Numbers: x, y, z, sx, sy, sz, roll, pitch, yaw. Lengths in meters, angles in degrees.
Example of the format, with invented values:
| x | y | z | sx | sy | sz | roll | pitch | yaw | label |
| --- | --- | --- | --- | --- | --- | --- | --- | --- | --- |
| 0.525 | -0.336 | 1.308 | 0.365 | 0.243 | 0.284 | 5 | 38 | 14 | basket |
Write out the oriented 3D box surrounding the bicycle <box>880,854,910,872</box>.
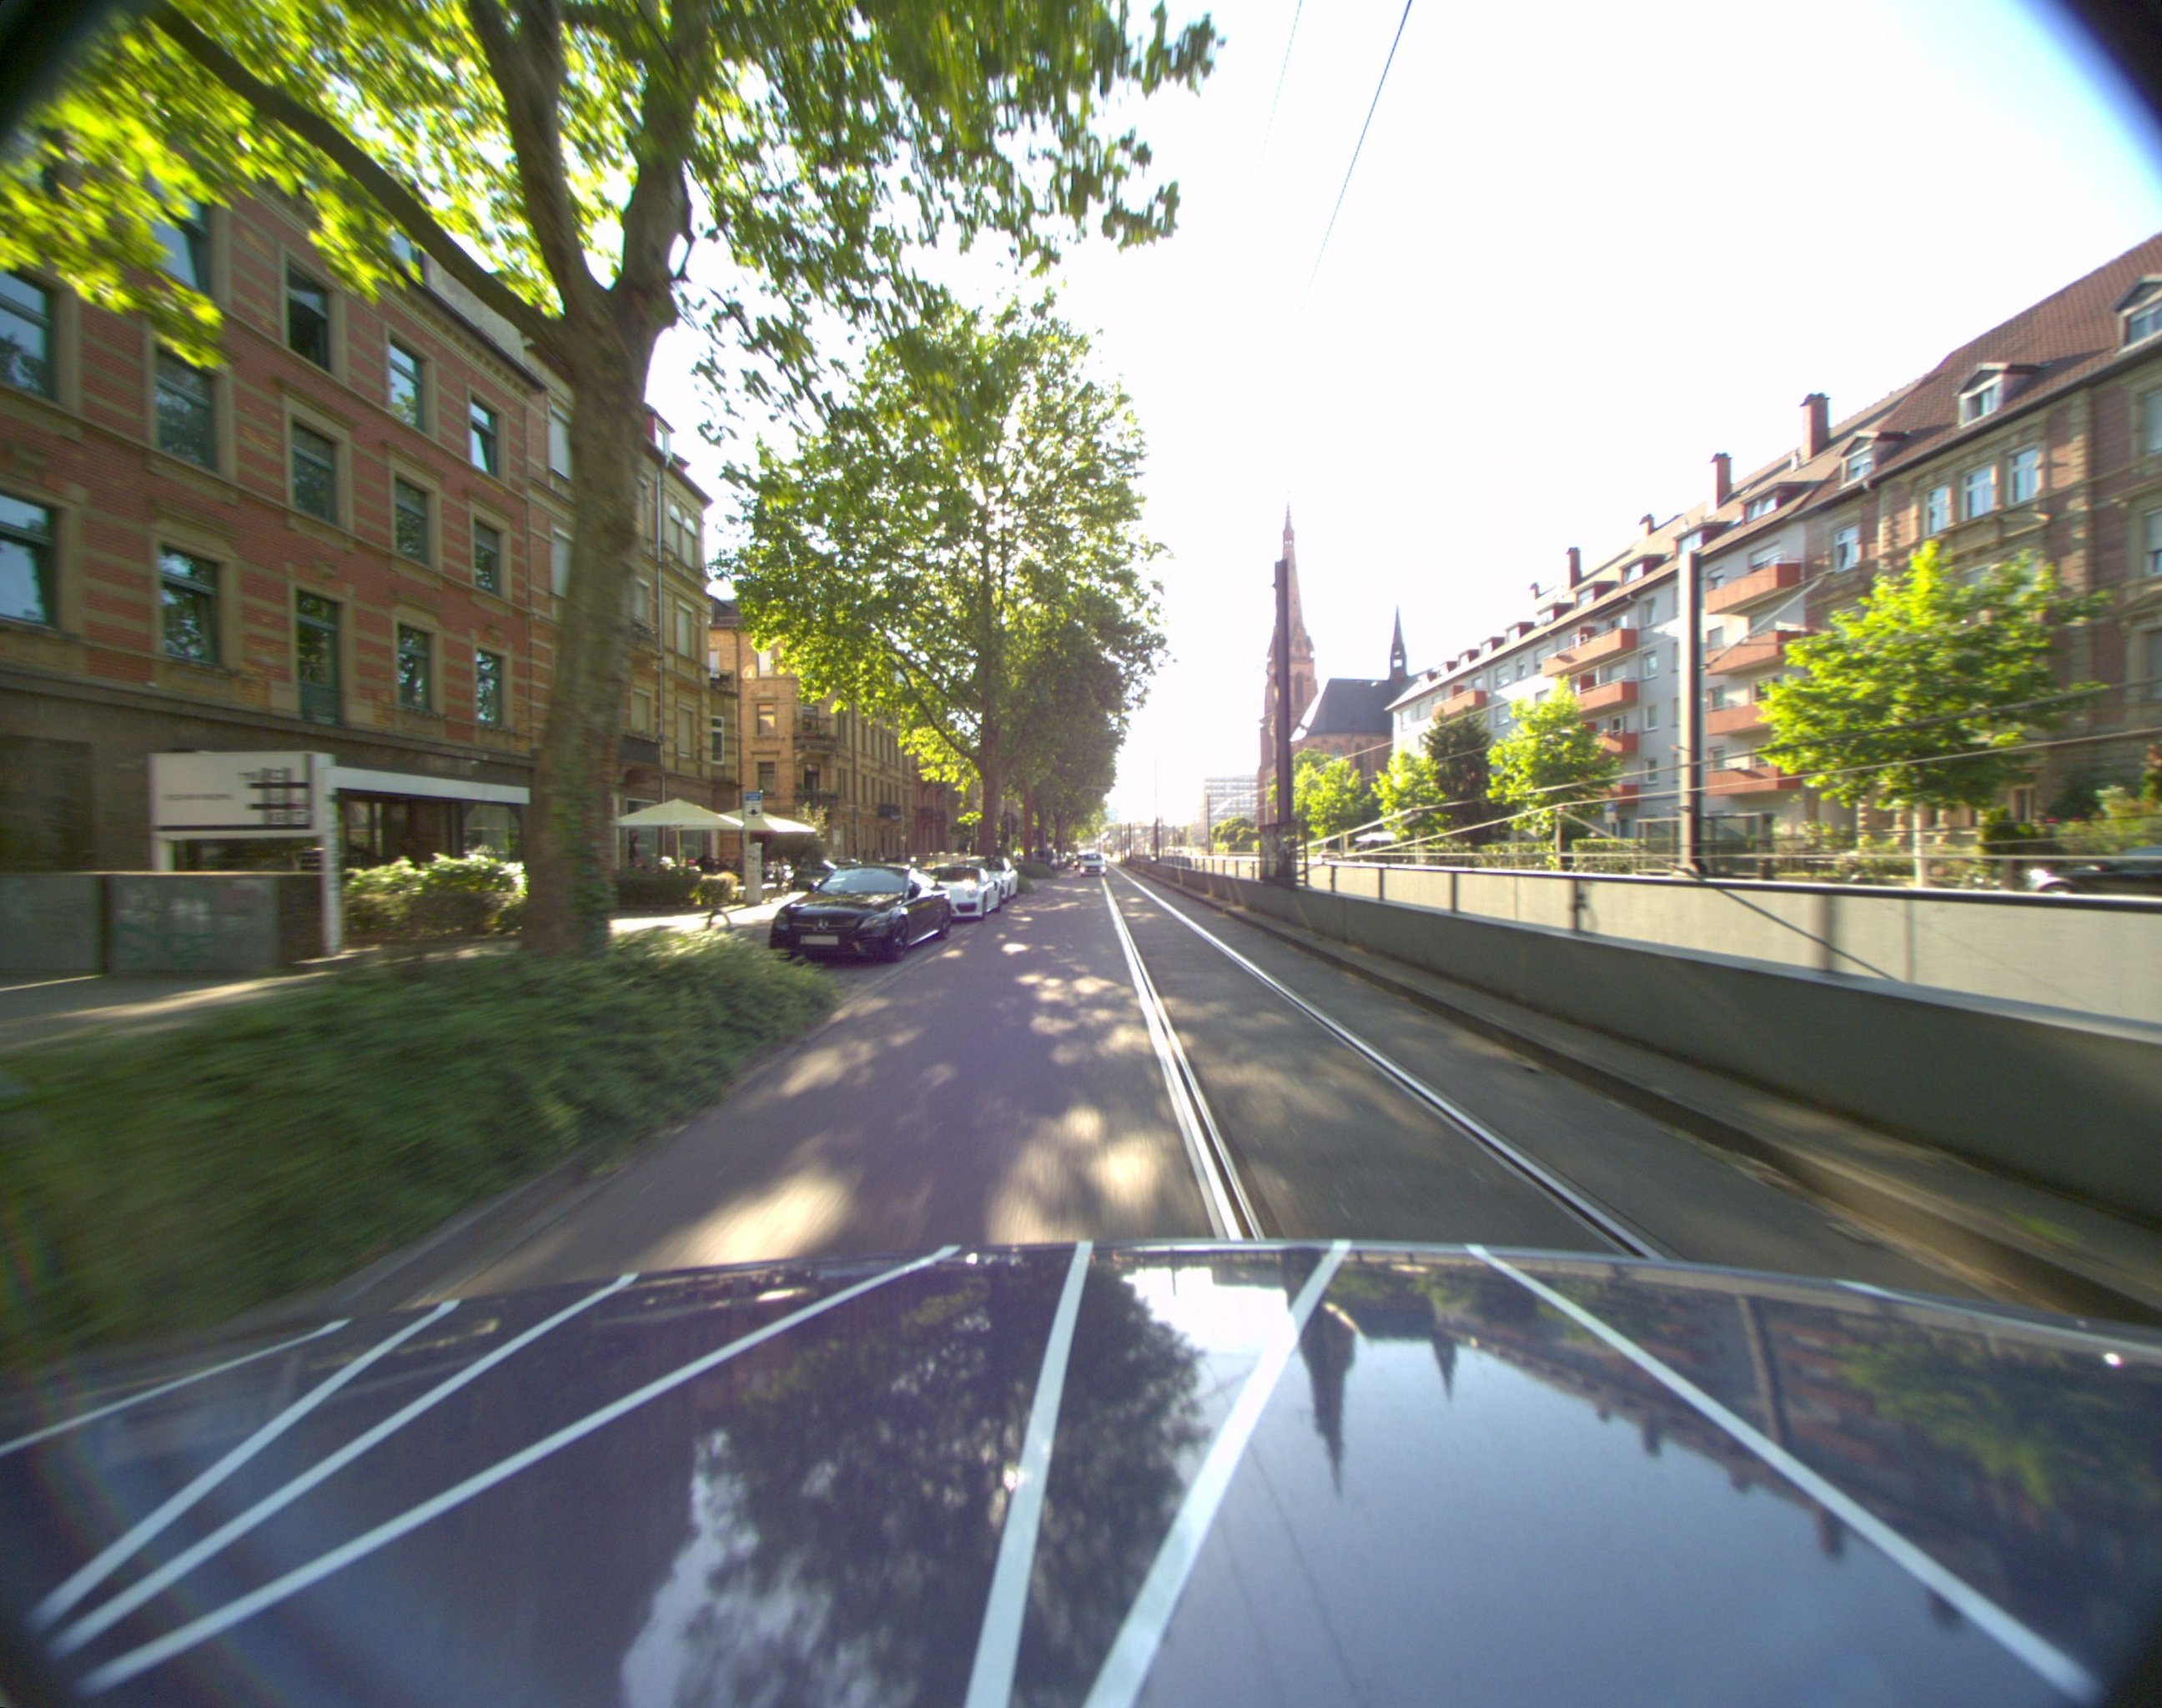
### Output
| x | y | z | sx | sy | sz | roll | pitch | yaw | label |
| --- | --- | --- | --- | --- | --- | --- | --- | --- | --- |
| -12.187 | 0.599 | 49.771 | 1.866 | 1.147 | 0.476 | -1 | 1 | 5 | bicycle |

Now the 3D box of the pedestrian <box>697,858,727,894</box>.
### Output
| x | y | z | sx | sy | sz | roll | pitch | yaw | label |
| --- | --- | --- | --- | --- | --- | --- | --- | --- | --- |
| -13.492 | 0.791 | 27.796 | 0.714 | 1.292 | 0.662 | -1 | 1 | 0 | pedestrian |

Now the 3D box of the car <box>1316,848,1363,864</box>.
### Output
| x | y | z | sx | sy | sz | roll | pitch | yaw | label |
| --- | --- | --- | --- | --- | --- | --- | --- | --- | --- |
| 28.740 | 0.253 | 84.536 | 4.404 | 1.495 | 1.977 | -4 | 1 | 0 | car |

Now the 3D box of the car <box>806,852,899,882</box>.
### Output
| x | y | z | sx | sy | sz | roll | pitch | yaw | label |
| --- | --- | --- | --- | --- | --- | --- | --- | --- | --- |
| -12.728 | 0.709 | 42.520 | 4.615 | 1.539 | 1.922 | -1 | 1 | -4 | car |

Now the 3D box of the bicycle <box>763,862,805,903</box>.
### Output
| x | y | z | sx | sy | sz | roll | pitch | yaw | label |
| --- | --- | --- | --- | --- | --- | --- | --- | --- | --- |
| -9.006 | 0.846 | 23.106 | 0.476 | 1.137 | 1.896 | 1 | 1 | 1 | bicycle |

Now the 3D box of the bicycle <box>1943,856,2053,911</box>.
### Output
| x | y | z | sx | sy | sz | roll | pitch | yaw | label |
| --- | --- | --- | --- | --- | --- | --- | --- | --- | --- |
| 21.795 | 0.695 | 18.079 | 1.812 | 1.171 | 0.562 | -4 | 1 | 3 | bicycle |

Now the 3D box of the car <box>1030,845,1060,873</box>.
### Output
| x | y | z | sx | sy | sz | roll | pitch | yaw | label |
| --- | --- | --- | --- | --- | --- | --- | --- | --- | --- |
| -2.638 | 0.354 | 56.749 | 1.999 | 2.002 | 5.201 | 0 | 0 | 0 | car |

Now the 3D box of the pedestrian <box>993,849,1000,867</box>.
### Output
| x | y | z | sx | sy | sz | roll | pitch | yaw | label |
| --- | --- | --- | --- | --- | --- | --- | --- | --- | --- |
| -7.528 | 0.336 | 67.435 | 0.531 | 1.618 | 0.618 | 1 | 0 | 1 | pedestrian |

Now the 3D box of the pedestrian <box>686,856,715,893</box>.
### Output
| x | y | z | sx | sy | sz | roll | pitch | yaw | label |
| --- | --- | --- | --- | --- | --- | --- | --- | --- | --- |
| -13.553 | 0.721 | 27.076 | 0.662 | 1.292 | 0.715 | -1 | 1 | 0 | pedestrian |

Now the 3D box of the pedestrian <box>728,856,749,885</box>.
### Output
| x | y | z | sx | sy | sz | roll | pitch | yaw | label |
| --- | --- | --- | --- | --- | --- | --- | --- | --- | --- |
| -13.694 | 0.661 | 30.351 | 0.557 | 1.131 | 0.526 | -1 | 1 | 0 | pedestrian |

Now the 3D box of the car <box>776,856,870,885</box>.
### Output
| x | y | z | sx | sy | sz | roll | pitch | yaw | label |
| --- | --- | --- | --- | --- | --- | --- | --- | --- | --- |
| -12.624 | 0.816 | 37.301 | 3.998 | 1.356 | 1.743 | -1 | -1 | -2 | car |

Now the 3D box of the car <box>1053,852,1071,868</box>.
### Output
| x | y | z | sx | sy | sz | roll | pitch | yaw | label |
| --- | --- | --- | --- | --- | --- | --- | --- | --- | --- |
| -1.932 | 0.601 | 78.980 | 1.719 | 1.455 | 3.997 | -1 | 4 | 0 | car |

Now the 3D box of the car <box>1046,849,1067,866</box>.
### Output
| x | y | z | sx | sy | sz | roll | pitch | yaw | label |
| --- | --- | --- | --- | --- | --- | --- | --- | --- | --- |
| -2.307 | 0.317 | 72.964 | 1.718 | 1.540 | 4.500 | 0 | 1 | 1 | car |

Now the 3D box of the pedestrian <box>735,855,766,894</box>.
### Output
| x | y | z | sx | sy | sz | roll | pitch | yaw | label |
| --- | --- | --- | --- | --- | --- | --- | --- | --- | --- |
| -11.231 | 0.702 | 25.827 | 0.714 | 1.292 | 0.662 | -1 | 1 | 1 | pedestrian |

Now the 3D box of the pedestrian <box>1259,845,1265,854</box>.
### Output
| x | y | z | sx | sy | sz | roll | pitch | yaw | label |
| --- | --- | --- | --- | --- | --- | --- | --- | --- | --- |
| 30.731 | -0.700 | 128.942 | 0.587 | 1.480 | 0.946 | -4 | 1 | -2 | pedestrian |

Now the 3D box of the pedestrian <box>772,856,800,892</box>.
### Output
| x | y | z | sx | sy | sz | roll | pitch | yaw | label |
| --- | --- | --- | --- | --- | --- | --- | --- | --- | --- |
| -10.830 | 0.723 | 27.923 | 0.714 | 1.292 | 0.662 | -1 | 1 | 0 | pedestrian |

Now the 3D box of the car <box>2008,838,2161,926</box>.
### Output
| x | y | z | sx | sy | sz | roll | pitch | yaw | label |
| --- | --- | --- | --- | --- | --- | --- | --- | --- | --- |
| 21.341 | 0.513 | 14.710 | 1.837 | 1.576 | 3.999 | -4 | 0 | -1 | car |

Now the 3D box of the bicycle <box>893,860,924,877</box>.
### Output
| x | y | z | sx | sy | sz | roll | pitch | yaw | label |
| --- | --- | --- | --- | --- | --- | --- | --- | --- | --- |
| -10.025 | 0.839 | 44.176 | 1.696 | 0.911 | 0.602 | -1 | 1 | -10 | bicycle |

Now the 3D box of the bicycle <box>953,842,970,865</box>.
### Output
| x | y | z | sx | sy | sz | roll | pitch | yaw | label |
| --- | --- | --- | --- | --- | --- | --- | --- | --- | --- |
| -6.515 | -0.015 | 41.601 | 0.562 | 1.171 | 2.226 | -3 | 0 | 0 | bicycle |

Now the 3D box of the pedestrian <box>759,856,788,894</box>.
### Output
| x | y | z | sx | sy | sz | roll | pitch | yaw | label |
| --- | --- | --- | --- | --- | --- | --- | --- | --- | --- |
| -10.811 | 0.721 | 26.756 | 0.714 | 1.292 | 0.662 | -1 | 1 | 0 | pedestrian |

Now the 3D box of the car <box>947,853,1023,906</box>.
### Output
| x | y | z | sx | sy | sz | roll | pitch | yaw | label |
| --- | --- | --- | --- | --- | --- | --- | --- | --- | --- |
| -2.996 | 0.750 | 24.571 | 1.807 | 1.469 | 4.646 | -1 | 1 | 0 | car |

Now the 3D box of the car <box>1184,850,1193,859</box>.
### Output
| x | y | z | sx | sy | sz | roll | pitch | yaw | label |
| --- | --- | --- | --- | --- | --- | --- | --- | --- | --- |
| 24.984 | 0.105 | 176.483 | 1.997 | 2.002 | 5.015 | 1 | 1 | 10 | car |

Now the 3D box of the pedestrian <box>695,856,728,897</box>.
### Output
| x | y | z | sx | sy | sz | roll | pitch | yaw | label |
| --- | --- | --- | --- | --- | --- | --- | --- | --- | --- |
| -11.979 | 0.712 | 24.662 | 0.714 | 1.292 | 0.663 | -1 | 1 | 2 | pedestrian |

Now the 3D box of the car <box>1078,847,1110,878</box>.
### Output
| x | y | z | sx | sy | sz | roll | pitch | yaw | label |
| --- | --- | --- | --- | --- | --- | --- | --- | --- | --- |
| 0.887 | 0.491 | 48.547 | 1.823 | 1.729 | 4.000 | -2 | 2 | 3 | car |

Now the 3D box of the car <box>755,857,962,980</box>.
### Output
| x | y | z | sx | sy | sz | roll | pitch | yaw | label |
| --- | --- | --- | --- | --- | --- | --- | --- | --- | --- |
| -3.302 | 0.858 | 12.370 | 1.736 | 1.528 | 4.805 | -1 | 1 | 2 | car |

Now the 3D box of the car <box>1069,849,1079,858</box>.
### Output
| x | y | z | sx | sy | sz | roll | pitch | yaw | label |
| --- | --- | --- | --- | --- | --- | --- | --- | --- | --- |
| -1.231 | -0.062 | 134.562 | 1.680 | 1.507 | 4.723 | 0 | 1 | 2 | car |

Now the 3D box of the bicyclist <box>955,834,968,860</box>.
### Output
| x | y | z | sx | sy | sz | roll | pitch | yaw | label |
| --- | --- | --- | --- | --- | --- | --- | --- | --- | --- |
| -6.535 | -0.372 | 41.574 | 0.544 | 1.372 | 0.644 | -2 | 0 | -1 | bicyclist |

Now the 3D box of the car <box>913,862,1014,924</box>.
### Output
| x | y | z | sx | sy | sz | roll | pitch | yaw | label |
| --- | --- | --- | --- | --- | --- | --- | --- | --- | --- |
| -2.863 | 0.910 | 19.348 | 1.834 | 1.319 | 4.000 | -1 | 1 | 1 | car |
